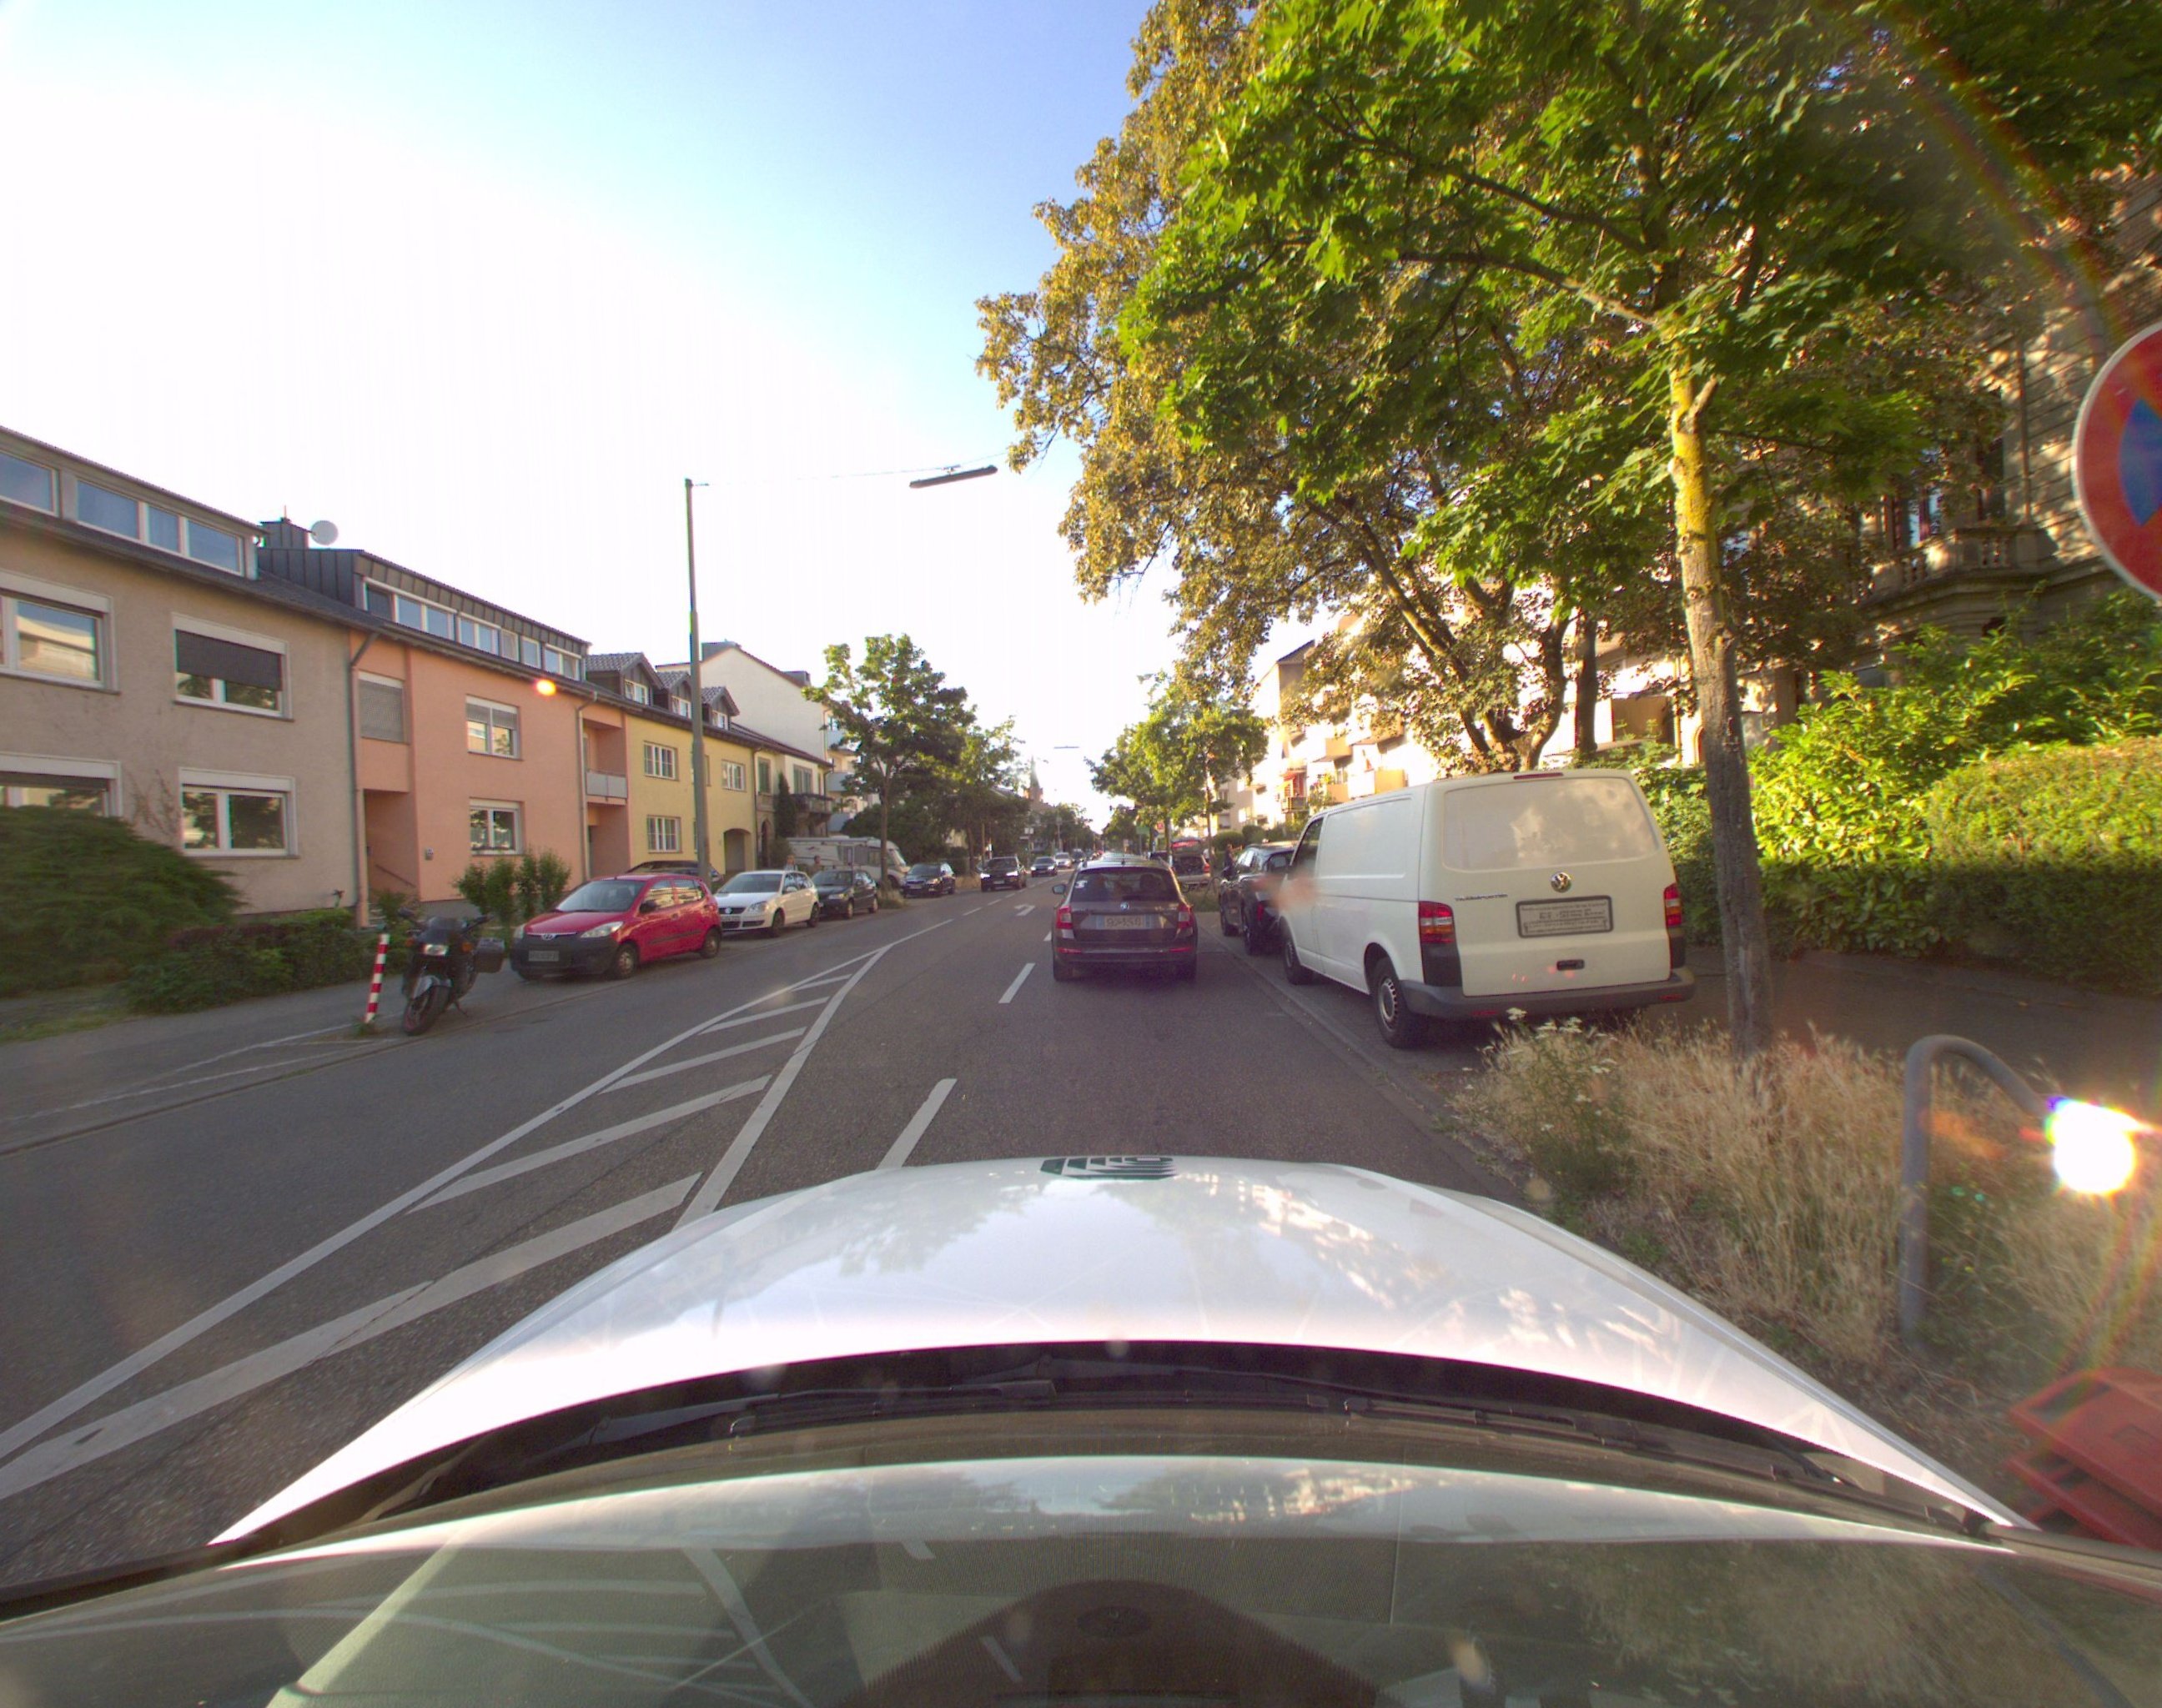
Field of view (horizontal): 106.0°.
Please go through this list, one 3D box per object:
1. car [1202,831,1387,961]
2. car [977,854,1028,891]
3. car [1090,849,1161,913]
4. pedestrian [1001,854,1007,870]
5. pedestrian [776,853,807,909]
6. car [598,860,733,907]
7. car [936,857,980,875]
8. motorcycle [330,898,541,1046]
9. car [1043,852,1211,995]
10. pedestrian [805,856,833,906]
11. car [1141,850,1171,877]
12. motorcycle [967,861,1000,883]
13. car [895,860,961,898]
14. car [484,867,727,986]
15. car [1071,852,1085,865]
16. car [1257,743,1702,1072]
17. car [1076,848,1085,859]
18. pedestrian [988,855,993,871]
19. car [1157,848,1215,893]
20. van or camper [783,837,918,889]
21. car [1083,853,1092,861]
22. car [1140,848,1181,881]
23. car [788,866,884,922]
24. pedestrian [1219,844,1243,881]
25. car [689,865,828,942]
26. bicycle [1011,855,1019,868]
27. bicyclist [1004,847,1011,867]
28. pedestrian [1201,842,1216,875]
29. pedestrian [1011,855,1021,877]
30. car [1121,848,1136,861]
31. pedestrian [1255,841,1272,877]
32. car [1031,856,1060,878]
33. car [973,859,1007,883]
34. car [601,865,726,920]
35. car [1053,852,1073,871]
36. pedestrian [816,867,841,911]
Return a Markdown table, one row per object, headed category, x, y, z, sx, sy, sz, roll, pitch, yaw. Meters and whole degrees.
| category | x | y | z | sx | sy | sz | roll | pitch | yaw |
| --- | --- | --- | --- | --- | --- | --- | --- | --- | --- |
| car | 3.207 | 0.566 | 13.169 | 1.849 | 1.603 | 4.313 | -5 | 0 | 1 |
| car | -3.691 | 0.860 | 39.093 | 1.829 | 1.570 | 4.001 | -4 | -1 | 1 |
| car | 1.189 | 0.658 | 21.873 | 1.730 | 1.571 | 4.003 | -1 | 0 | 3 |
| pedestrian | -8.902 | 0.941 | 94.114 | 0.613 | 1.797 | 0.504 | -3 | 0 | 2 |
| pedestrian | -9.416 | 0.871 | 26.490 | 0.710 | 1.792 | 0.506 | -3 | 0 | 4 |
| car | -15.223 | 1.057 | 29.956 | 3.971 | 1.636 | 1.867 | 0 | 0 | 2 |
| car | -14.059 | 1.335 | 93.152 | 4.617 | 1.811 | 1.862 | -3 | 0 | 1 |
| motorcycle | -7.054 | 1.205 | 9.117 | 1.184 | 1.266 | 2.352 | -3 | 0 | -22 |
| car | 0.554 | 0.744 | 10.879 | 1.766 | 1.489 | 4.312 | -1 | 0 | 1 |
| pedestrian | -9.522 | 0.969 | 29.593 | 0.710 | 1.792 | 0.572 | -3 | 0 | 4 |
| car | 4.529 | 0.570 | 49.575 | 1.696 | 1.450 | 4.018 | -4 | 0 | 4 |
| motorcycle | -5.852 | 1.087 | 48.873 | 2.028 | 1.265 | 0.772 | -3 | 0 | 40 |
| car | -6.614 | 1.051 | 35.712 | 1.860 | 1.494 | 4.519 | -1 | 0 | 2 |
| car | -7.312 | 1.023 | 12.937 | 1.585 | 1.523 | 3.440 | -2 | 0 | 5 |
| car | -0.468 | 0.718 | 128.527 | 1.986 | 1.908 | 4.965 | -4 | 0 | 1 |
| car | 3.147 | 0.354 | 7.720 | 1.897 | 2.103 | 4.640 | -2 | 0 | 0 |
| car | -0.109 | -0.028 | 191.720 | 1.986 | 2.478 | 4.002 | -2 | 0 | 2 |
| pedestrian | -10.417 | 0.982 | 93.472 | 0.447 | 1.797 | 0.504 | -3 | 0 | 2 |
| car | 3.997 | 0.598 | 31.499 | 1.702 | 1.480 | 4.270 | -4 | 0 | 1 |
| van or camper | -12.665 | 0.500 | 45.129 | 6.774 | 2.773 | 2.352 | 0 | 0 | 0 |
| car | 1.477 | 0.572 | 177.288 | 1.823 | 1.579 | 4.002 | -3 | 0 | 2 |
| car | 4.265 | 0.553 | 44.045 | 1.849 | 1.581 | 4.015 | -4 | 0 | 1 |
| car | -7.073 | 1.114 | 23.871 | 1.537 | 1.396 | 3.667 | -2 | 0 | 2 |
| pedestrian | 6.746 | 0.383 | 36.552 | 0.748 | 1.640 | 0.700 | -3 | 0 | 38 |
| car | -7.405 | 1.067 | 19.106 | 1.587 | 1.523 | 3.891 | -2 | 0 | 1 |
| bicycle | -5.663 | 0.668 | 69.476 | 0.484 | 1.064 | 1.534 | -2 | 0 | 1 |
| bicyclist | -6.255 | 0.259 | 69.728 | 0.467 | 1.663 | 0.552 | -2 | 0 | 1 |
| pedestrian | 7.086 | 0.261 | 45.240 | 0.659 | 1.749 | 0.773 | -4 | -1 | 4 |
| pedestrian | -6.206 | 1.154 | 78.201 | 0.777 | 1.987 | 0.821 | -3 | 0 | 2 |
| car | 6.957 | 0.091 | 118.972 | 1.984 | 1.772 | 4.005 | -1 | 0 | 5 |
| pedestrian | 8.428 | 0.215 | 37.586 | 0.475 | 1.640 | 0.533 | -2 | 0 | -17 |
| car | -2.699 | 0.946 | 62.376 | 1.754 | 1.452 | 4.536 | -5 | 0 | 2 |
| car | -5.846 | 1.072 | 52.628 | 1.587 | 1.470 | 3.805 | 0 | 0 | 2 |
| car | -12.714 | 1.128 | 25.088 | 1.658 | 1.409 | 3.756 | -3 | 0 | 3 |
| car | -1.874 | 0.727 | 85.419 | 1.799 | 1.804 | 4.747 | -4 | 0 | 2 |
| pedestrian | -8.886 | 1.237 | 28.669 | 0.587 | 1.496 | 0.543 | -3 | 0 | 4 |
